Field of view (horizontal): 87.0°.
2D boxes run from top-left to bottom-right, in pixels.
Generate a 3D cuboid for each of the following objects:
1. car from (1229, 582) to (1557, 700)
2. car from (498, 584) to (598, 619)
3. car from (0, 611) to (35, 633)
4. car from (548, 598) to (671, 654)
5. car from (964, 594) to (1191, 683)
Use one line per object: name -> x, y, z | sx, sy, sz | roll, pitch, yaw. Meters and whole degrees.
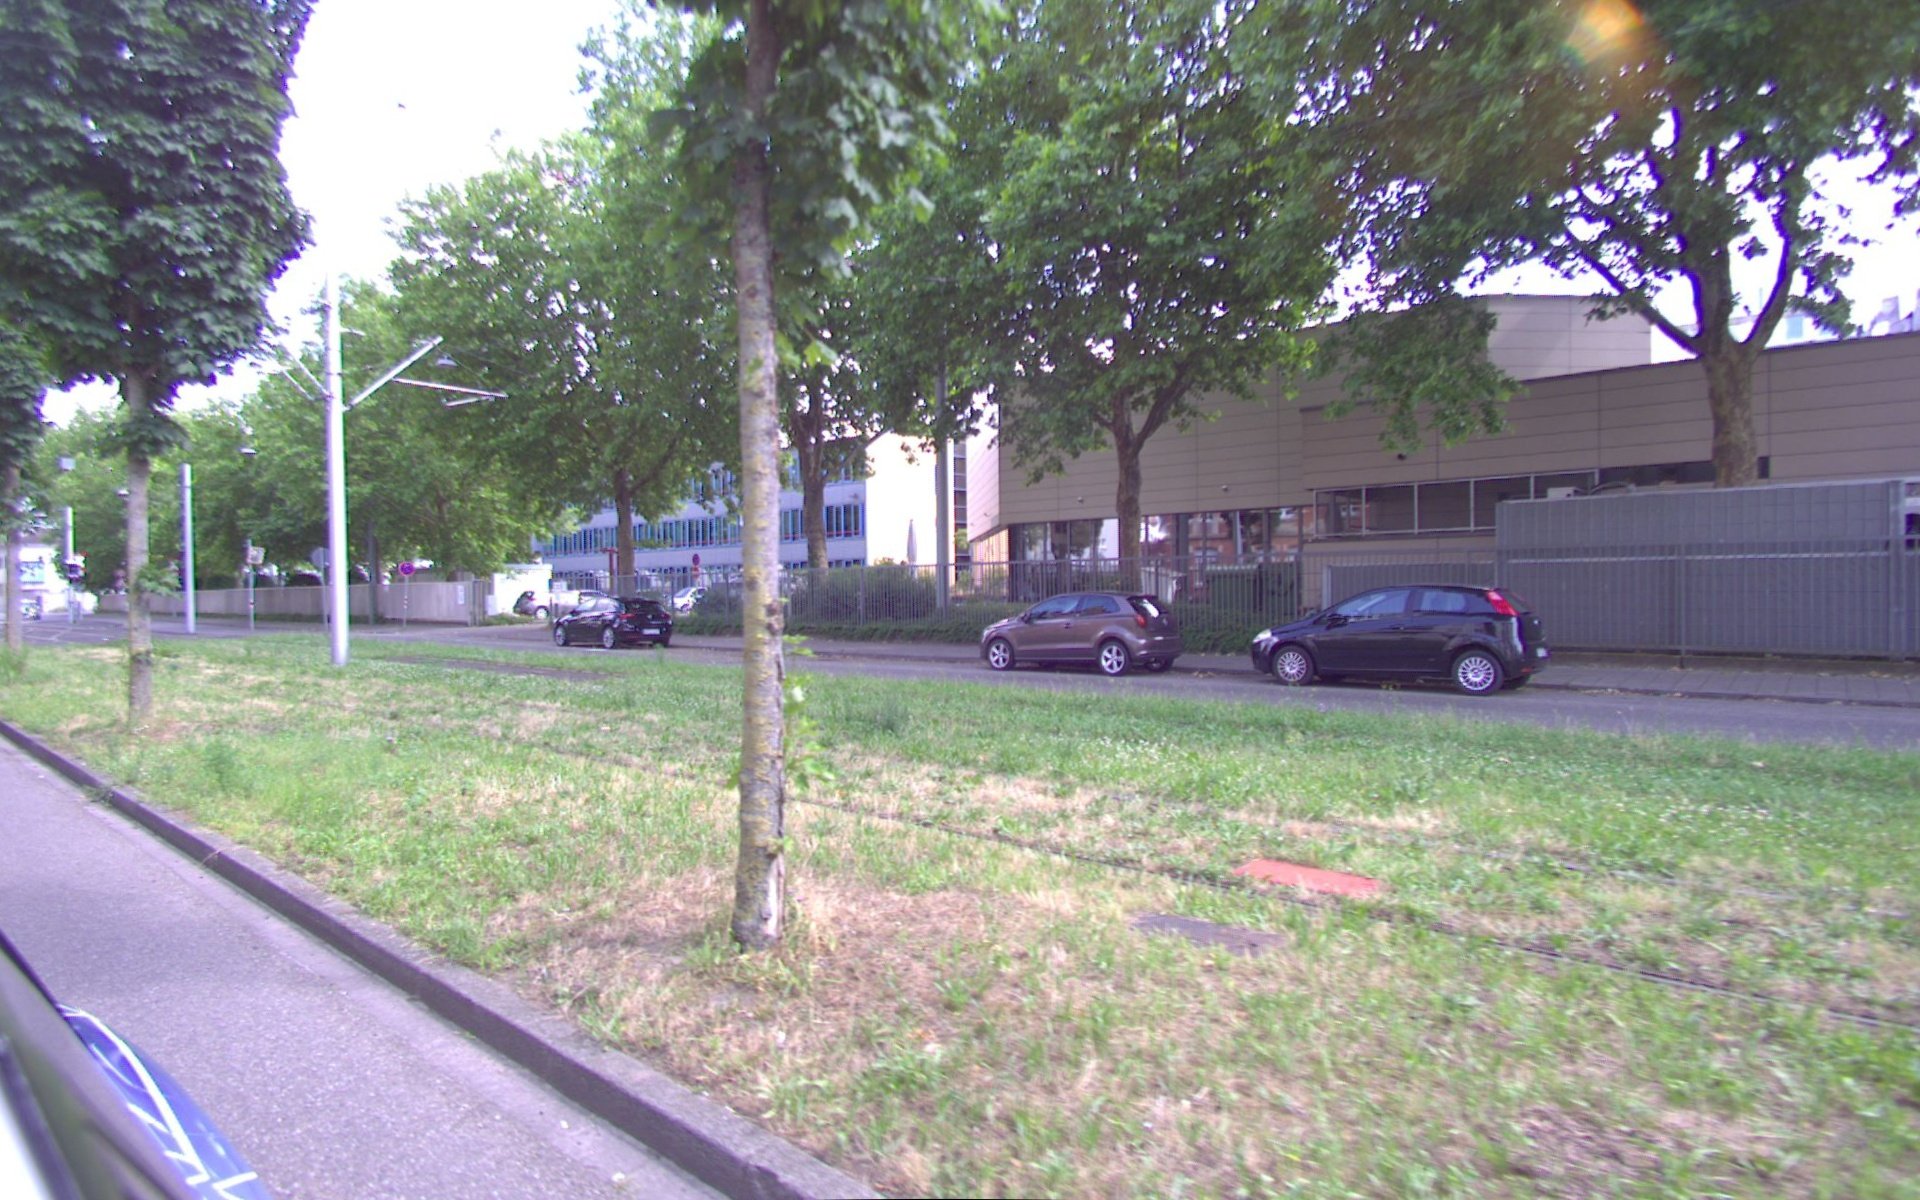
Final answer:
car -> 6.138, 0.504, 14.625 | 4.001, 1.464, 1.783 | 0, 0, 44
car -> -19.627, 0.065, 48.320 | 1.998, 1.630, 3.947 | 0, 0, 39
car -> -71.555, 1.639, 76.719 | 1.773, 1.541, 4.049 | -2, 1, -38
car -> -9.949, 0.694, 28.572 | 4.000, 1.475, 1.580 | 0, 0, 43
car -> 2.044, 0.633, 18.268 | 3.900, 1.436, 1.538 | 0, 0, 41
